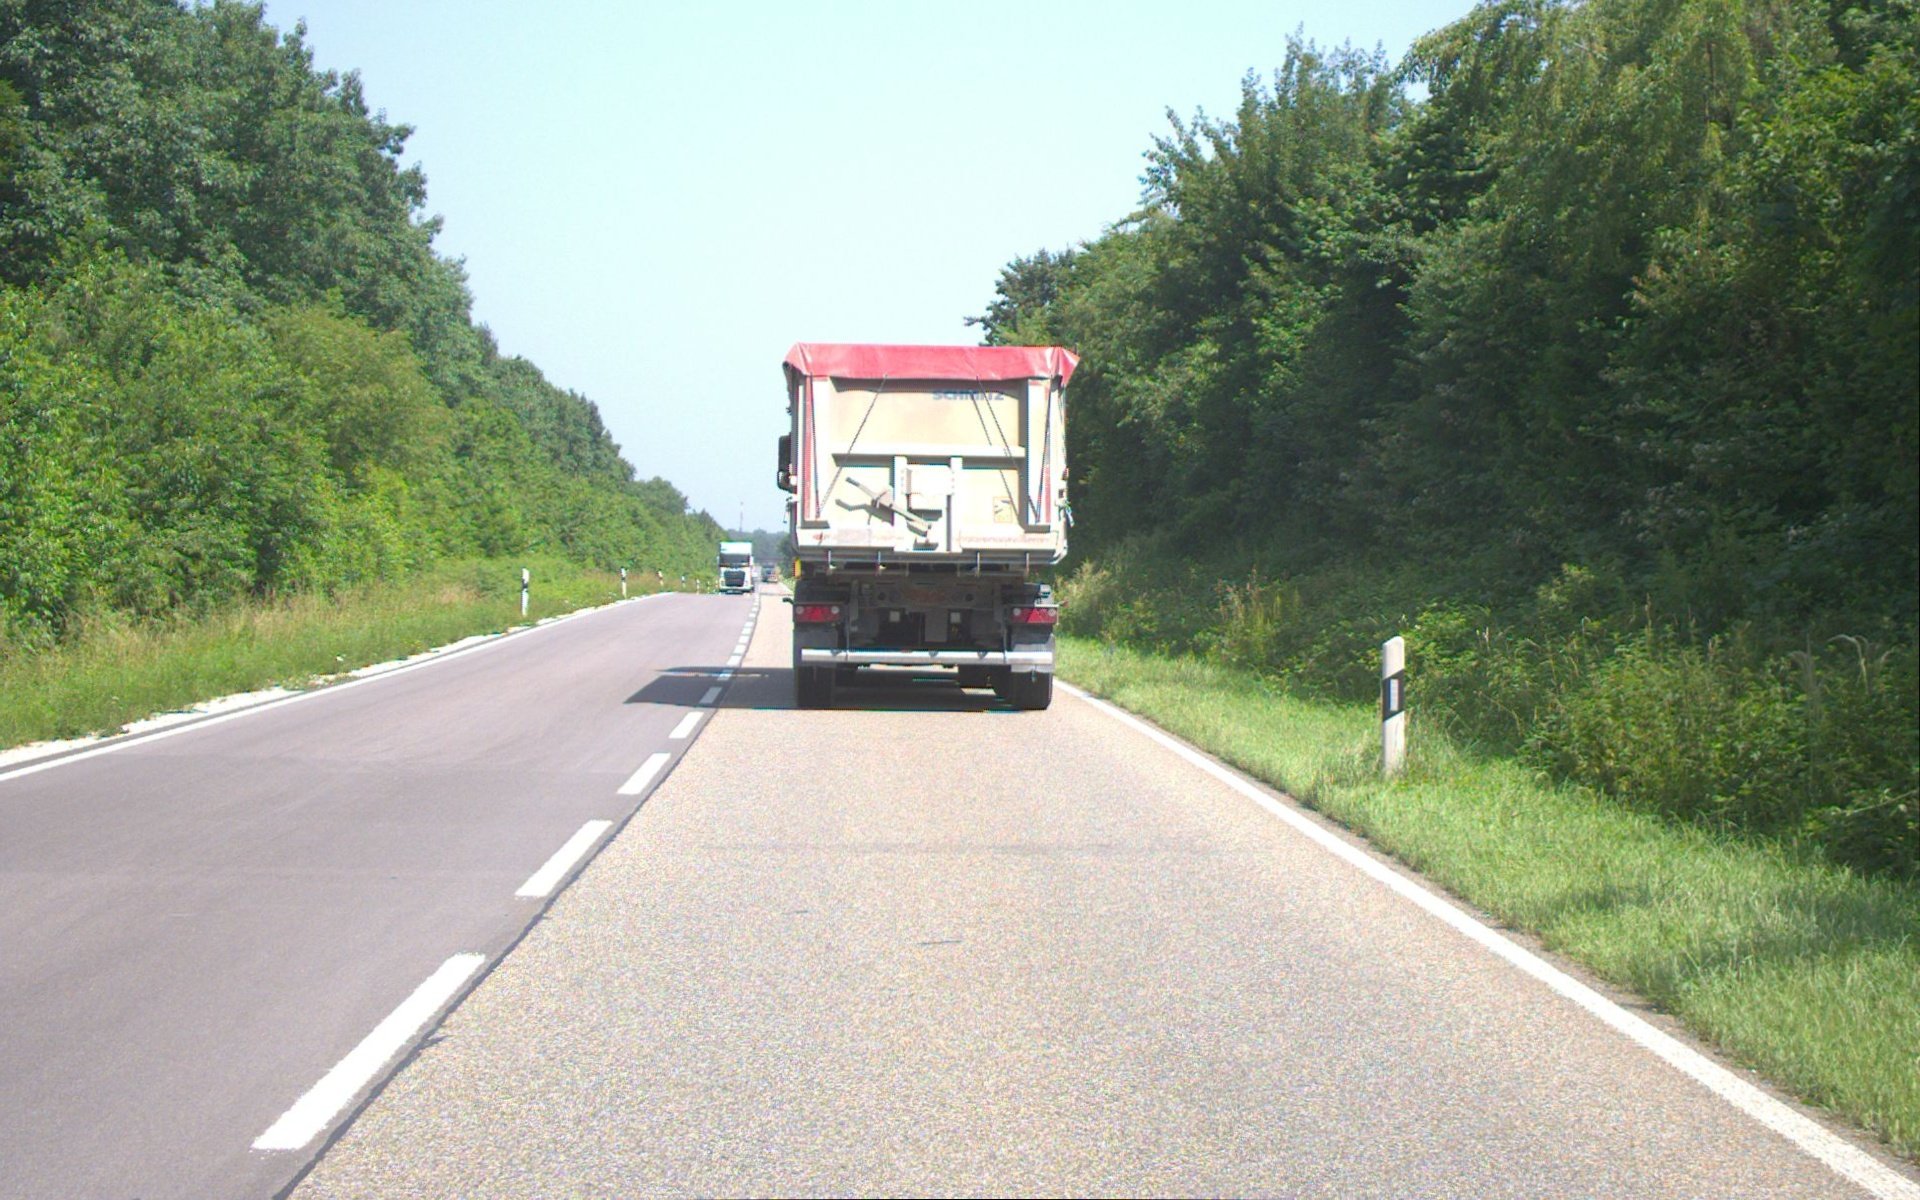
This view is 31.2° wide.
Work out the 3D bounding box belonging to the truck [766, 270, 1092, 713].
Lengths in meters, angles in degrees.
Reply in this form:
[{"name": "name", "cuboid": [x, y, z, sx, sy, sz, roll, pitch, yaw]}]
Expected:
[{"name": "truck", "cuboid": [-0.550, -1.078, 36.862, 2.893, 3.949, 11.934, 1, 1, -3]}]
